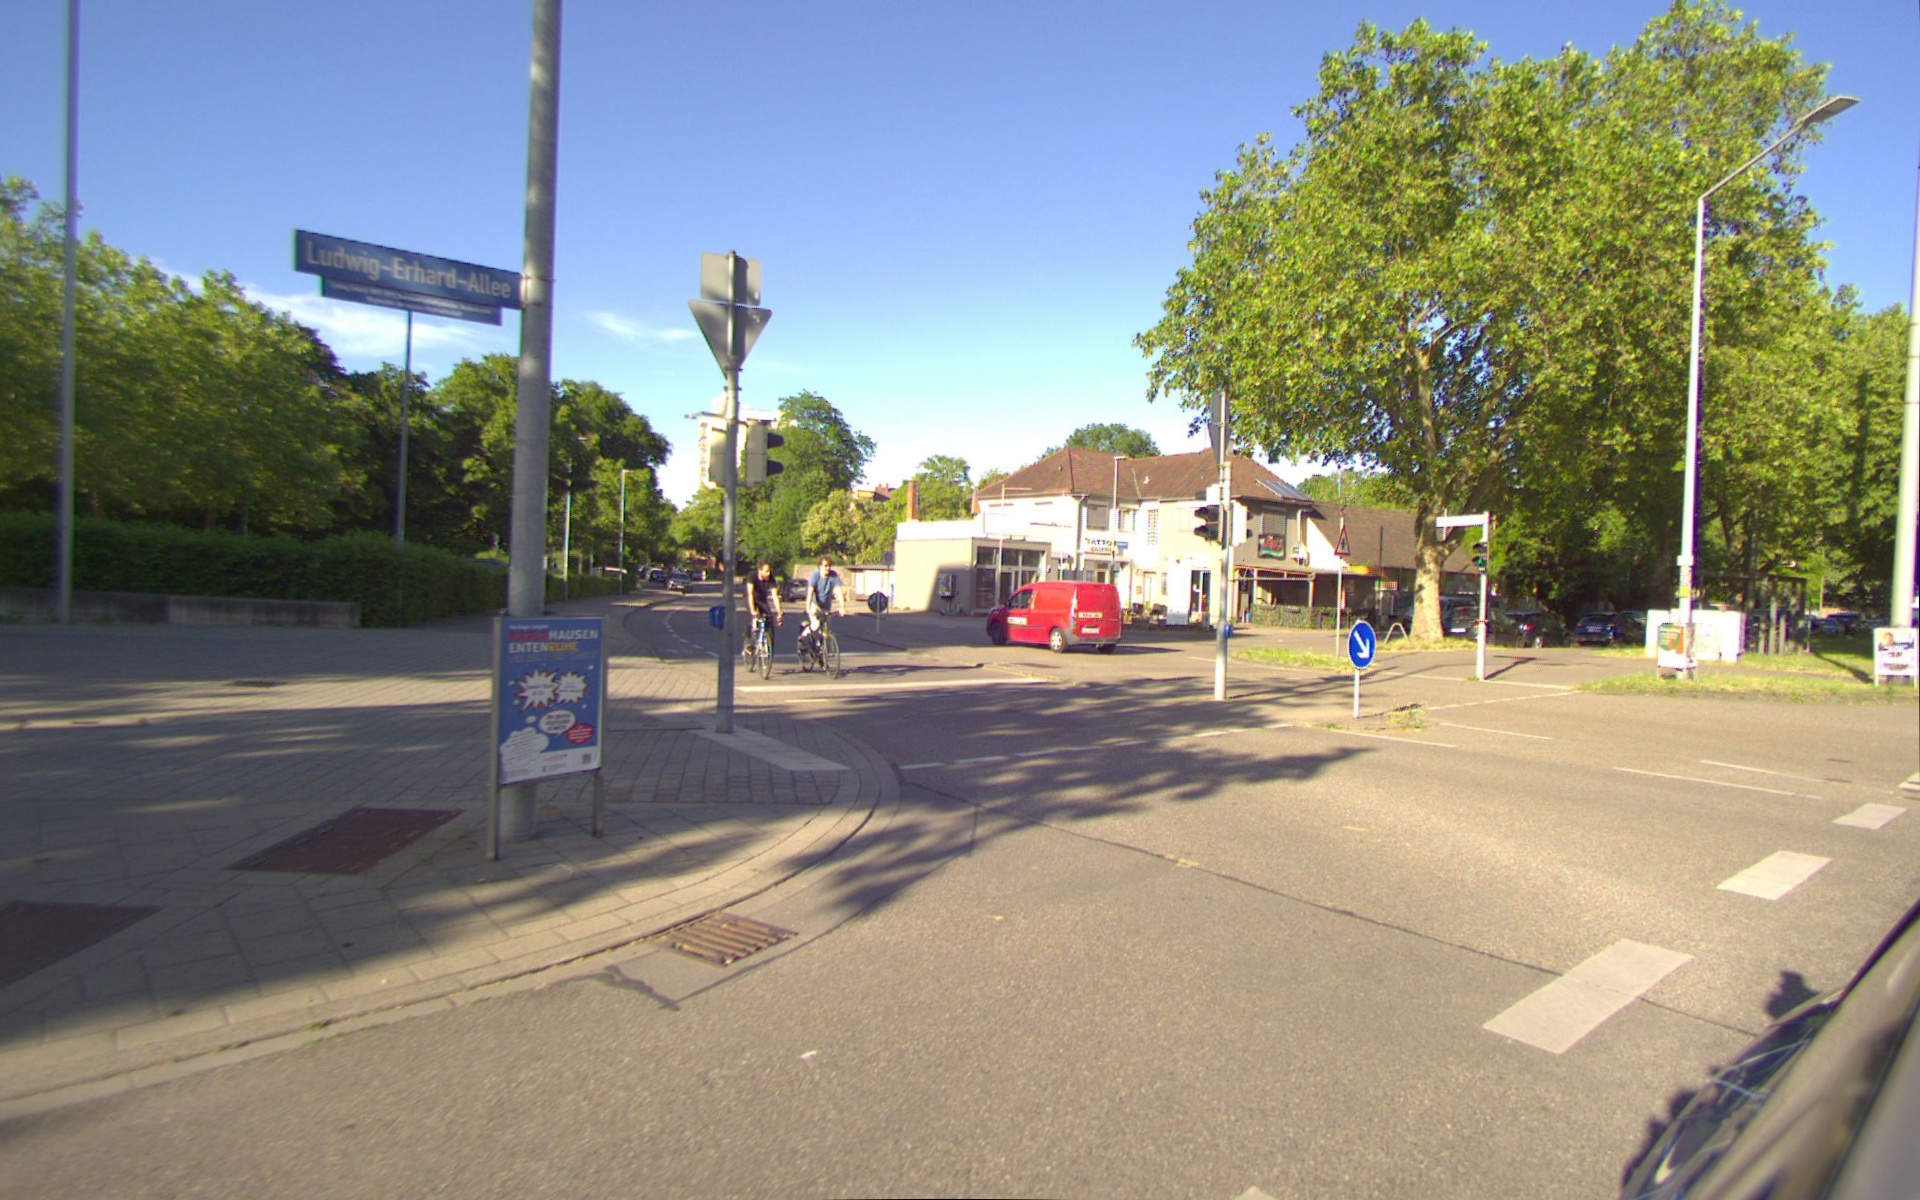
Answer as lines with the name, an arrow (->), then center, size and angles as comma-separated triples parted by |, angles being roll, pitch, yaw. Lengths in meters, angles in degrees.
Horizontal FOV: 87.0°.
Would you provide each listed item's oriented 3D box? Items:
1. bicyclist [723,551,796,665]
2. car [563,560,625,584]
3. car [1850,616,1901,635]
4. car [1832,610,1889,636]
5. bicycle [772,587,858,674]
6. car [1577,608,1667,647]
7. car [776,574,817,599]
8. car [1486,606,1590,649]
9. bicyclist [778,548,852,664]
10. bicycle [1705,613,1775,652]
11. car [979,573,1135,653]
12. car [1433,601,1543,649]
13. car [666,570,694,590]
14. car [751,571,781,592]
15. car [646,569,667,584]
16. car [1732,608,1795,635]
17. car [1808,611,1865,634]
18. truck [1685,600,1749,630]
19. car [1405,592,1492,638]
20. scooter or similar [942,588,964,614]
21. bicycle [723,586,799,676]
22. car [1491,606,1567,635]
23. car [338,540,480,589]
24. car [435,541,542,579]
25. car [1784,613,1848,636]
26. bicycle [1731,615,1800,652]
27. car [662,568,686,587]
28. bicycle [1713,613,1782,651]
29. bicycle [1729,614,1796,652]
bicyclist -> -3.063, 0.119, 15.450 | 0.777, 1.674, 0.878 | 3, 1, -30
car -> -25.799, -1.943, 71.427 | 3.934, 1.484, 2.004 | 2, 0, -16
car -> 65.716, 1.800, 72.604 | 4.037, 1.226, 1.999 | 1, 1, -37
car -> 61.582, 1.558, 69.180 | 4.567, 1.616, 2.000 | 1, 1, -36
bicycle -> -2.327, 0.454, 16.027 | 0.540, 1.218, 2.107 | 3, 1, -30
car -> 28.369, 1.164, 43.335 | 4.266, 1.507, 1.899 | 1, 1, -38
car -> -11.038, -0.920, 68.194 | 1.958, 1.483, 4.009 | 2, 1, -20
car -> 21.380, 1.009, 37.381 | 4.267, 1.429, 1.899 | 1, 1, -39
bicyclist -> -2.292, 0.091, 15.945 | 0.815, 1.759, 0.878 | 3, 1, -30
bicycle -> 25.405, 1.050, 32.983 | 0.540, 1.184, 1.703 | 2, 0, -33
car -> 2.421, 0.284, 26.280 | 1.817, 1.838, 4.117 | 4, -1, -32
car -> 18.039, 0.825, 34.525 | 3.964, 1.483, 1.898 | 1, 1, -39
car -> -21.761, -1.573, 78.674 | 1.958, 1.483, 4.483 | 2, 1, -16
car -> -15.086, -1.418, 78.596 | 1.958, 1.484, 4.008 | 2, 0, -15
car -> -32.616, -2.548, 108.787 | 1.958, 1.484, 4.008 | 2, 0, -15
car -> 43.701, 1.161, 55.025 | 3.844, 1.397, 1.942 | 1, 1, -41
car -> 57.268, 1.482, 66.094 | 4.778, 1.380, 1.998 | 1, 1, -40
truck -> 58.596, 1.167, 78.307 | 6.461, 2.101, 2.455 | 1, 1, -39
car -> 24.263, 0.726, 50.192 | 4.980, 2.061, 1.899 | 1, 3, -40
scooter or similar -> -0.322, 0.056, 47.780 | 0.994, 1.178, 0.261 | 2, 0, 6
bicycle -> -3.078, 0.435, 15.487 | 0.540, 1.218, 2.108 | 3, 1, -27
car -> 31.724, 1.132, 56.344 | 4.822, 1.504, 1.899 | 1, 1, -37
car -> -19.060, -1.213, 35.179 | 3.916, 1.484, 2.004 | 2, 0, -13
car -> -21.060, -1.754, 45.358 | 3.917, 1.484, 2.003 | 2, 0, -10
car -> 52.144, 1.501, 61.626 | 4.568, 1.265, 1.999 | 1, 1, -37
bicycle -> 27.963, 1.138, 35.154 | 0.541, 1.184, 1.808 | 2, 0, -38
car -> -24.845, -1.981, 87.937 | 1.958, 1.483, 4.483 | 2, 1, -16
bicycle -> 26.245, 1.053, 33.746 | 0.541, 1.184, 1.700 | 2, 0, -39
bicycle -> 27.263, 1.101, 34.387 | 0.541, 1.184, 1.700 | 2, 0, -39
